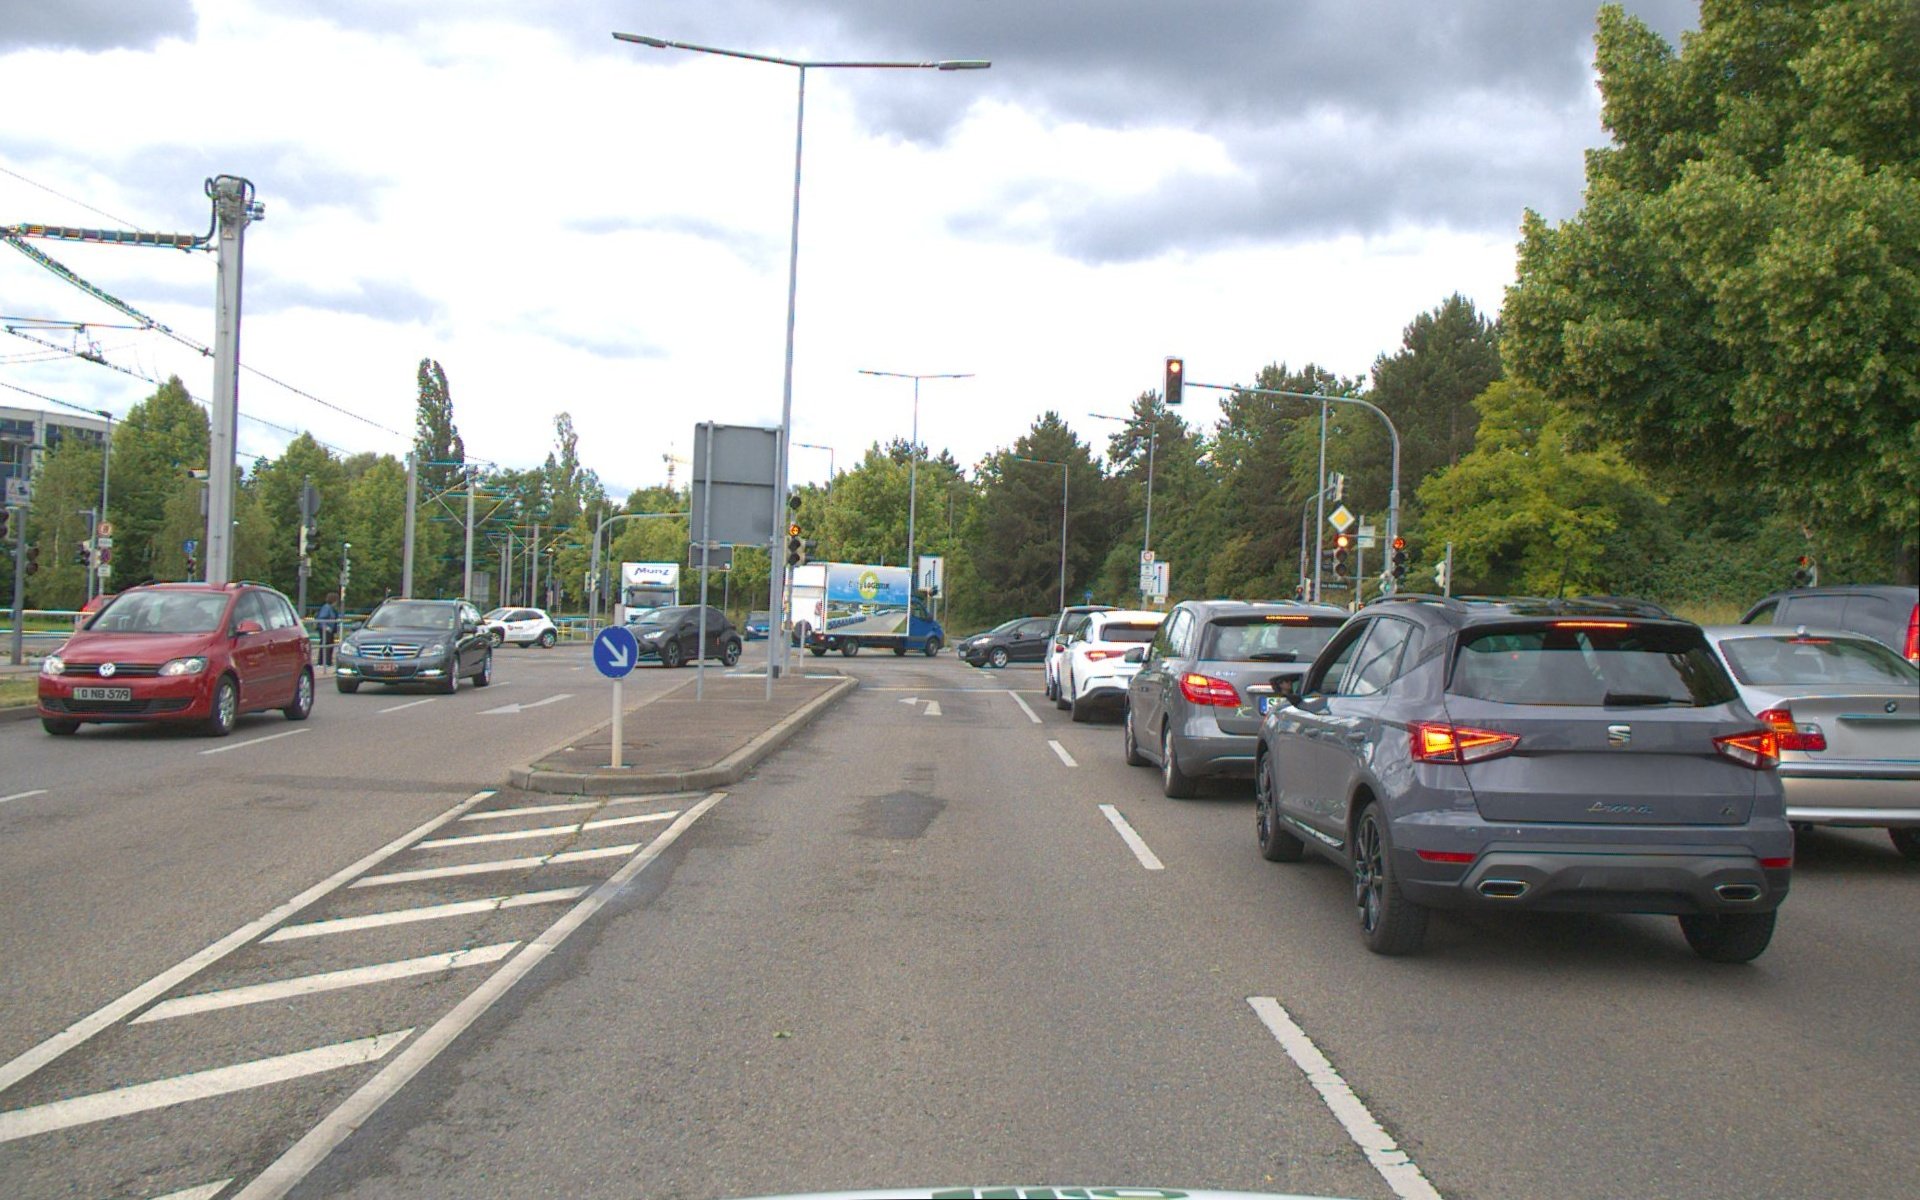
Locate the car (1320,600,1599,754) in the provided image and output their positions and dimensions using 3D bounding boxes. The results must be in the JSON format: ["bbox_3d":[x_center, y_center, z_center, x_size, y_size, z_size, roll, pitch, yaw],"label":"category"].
[{"bbox_3d":[5.252,0.767,17.984,1.787,1.460,4.212,1,-1,0],"label":"car"}]

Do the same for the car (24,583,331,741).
[{"bbox_3d":[-8.320,0.591,18.002,1.669,1.514,4.082,1,0,-5],"label":"car"}]

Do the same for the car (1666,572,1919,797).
[{"bbox_3d":[8.571,0.685,15.739,1.788,1.835,4.506,1,0,0],"label":"car"}]

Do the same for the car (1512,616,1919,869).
[{"bbox_3d":[5.375,0.823,11.295,1.775,1.378,4.117,1,0,-1],"label":"car"}]

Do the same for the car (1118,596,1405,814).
[{"bbox_3d":[2.384,0.755,14.085,1.762,1.550,4.188,1,0,1],"label":"car"}]

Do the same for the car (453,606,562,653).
[{"bbox_3d":[-17.070,1.074,62.506,1.747,1.534,3.730,3,3,38],"label":"car"}]

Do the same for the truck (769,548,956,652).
[{"bbox_3d":[-3.582,0.064,62.276,2.644,3.661,7.222,3,0,41],"label":"truck"}]

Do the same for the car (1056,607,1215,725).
[{"bbox_3d":[2.327,0.841,22.865,1.686,1.446,4.356,1,0,-1],"label":"car"}]

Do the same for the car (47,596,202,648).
[{"bbox_3d":[-26.103,0.705,51.774,3.906,1.543,1.732,1,-2,-1],"label":"car"}]

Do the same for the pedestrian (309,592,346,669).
[{"bbox_3d":[-13.401,0.636,35.050,0.347,1.583,0.651,2,3,33],"label":"pedestrian"}]

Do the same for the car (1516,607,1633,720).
[{"bbox_3d":[10.339,1.009,27.989,1.667,1.666,4.245,3,0,19],"label":"car"}]

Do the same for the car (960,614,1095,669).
[{"bbox_3d":[1.916,1.172,47.612,3.692,1.505,1.638,1,0,-5],"label":"car"}]

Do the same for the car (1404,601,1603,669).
[{"bbox_3d":[16.272,1.031,49.706,5.306,1.846,2.001,1,3,2],"label":"car"}]

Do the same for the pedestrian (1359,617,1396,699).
[{"bbox_3d":[7.642,1.050,30.304,0.598,1.479,0.354,1,-1,8],"label":"pedestrian"}]

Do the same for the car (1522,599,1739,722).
[{"bbox_3d":[8.662,0.720,21.663,1.482,1.462,3.642,0,0,2],"label":"car"}]

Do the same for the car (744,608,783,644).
[{"bbox_3d":[-10.354,1.340,86.899,1.881,1.603,3.992,0,3,-9],"label":"car"}]

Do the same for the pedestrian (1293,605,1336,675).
[{"bbox_3d":[8.112,0.908,37.914,0.846,1.588,0.518,1,0,-2],"label":"pedestrian"}]

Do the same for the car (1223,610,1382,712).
[{"bbox_3d":[5.158,0.878,25.332,1.514,1.428,3.999,1,-1,-1],"label":"car"}]

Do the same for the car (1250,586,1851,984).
[{"bbox_3d":[2.627,0.713,8.379,1.663,1.512,4.000,1,0,1],"label":"car"}]

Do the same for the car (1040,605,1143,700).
[{"bbox_3d":[2.206,0.872,28.247,1.504,1.531,2.669,1,-1,-1],"label":"car"}]

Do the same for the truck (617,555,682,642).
[{"bbox_3d":[-14.297,-0.033,76.758,2.611,3.713,9.481,2,-1,-9],"label":"truck"}]

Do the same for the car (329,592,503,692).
[{"bbox_3d":[-8.721,0.619,26.882,1.658,1.464,4.541,1,0,-5],"label":"car"}]

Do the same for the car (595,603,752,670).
[{"bbox_3d":[-6.929,0.850,40.345,1.565,1.522,3.930,1,1,32],"label":"car"}]
